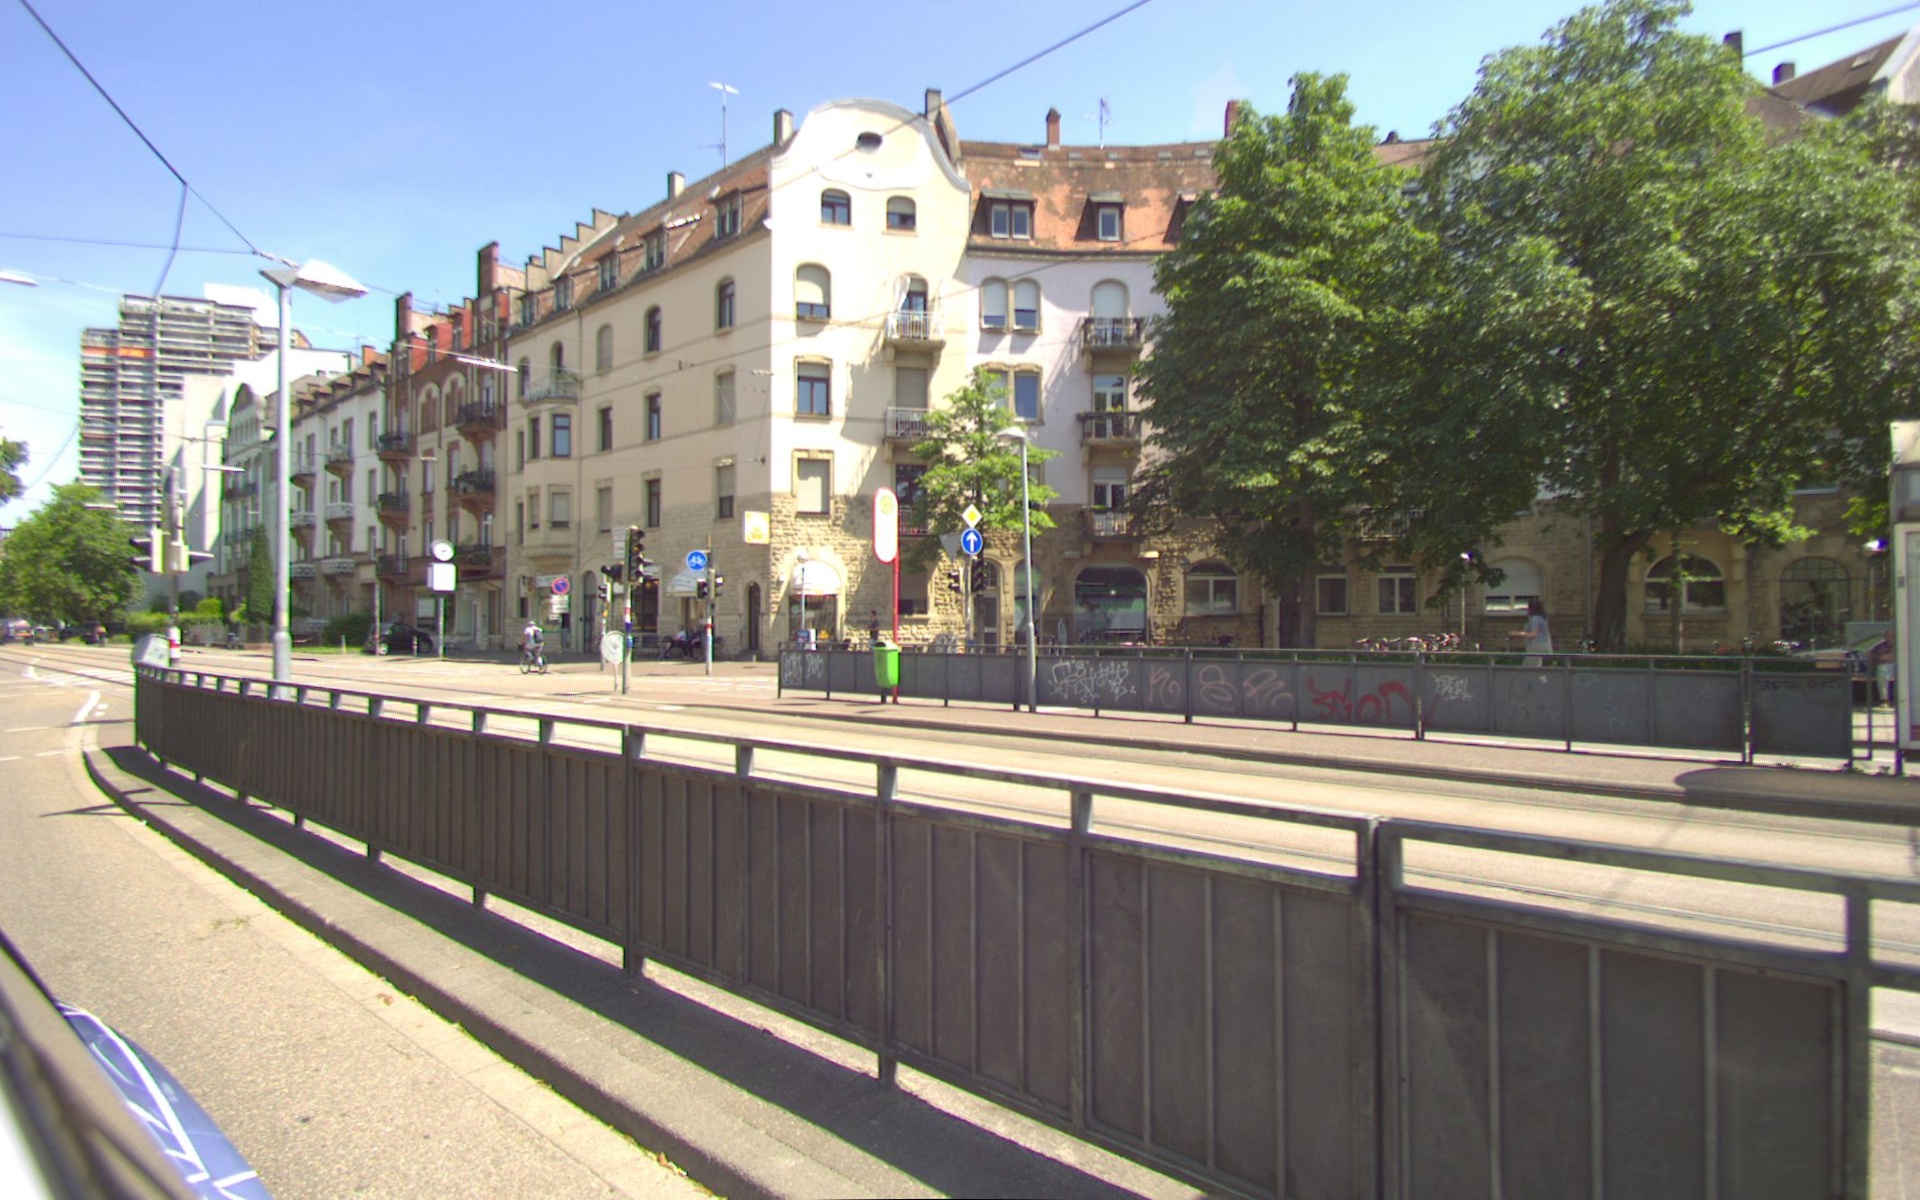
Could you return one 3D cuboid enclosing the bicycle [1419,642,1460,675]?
[{"bbox_3d":[14.917,1.816,31.534,0.403,0.963,1.492,0,-1,-7],"label":"bicycle"}]

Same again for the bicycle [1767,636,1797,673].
[{"bbox_3d":[22.784,1.488,28.051,0.408,0.963,1.475,-1,-1,30],"label":"bicycle"}]

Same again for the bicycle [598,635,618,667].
[{"bbox_3d":[-14.359,2.058,41.255,0.447,1.234,2.086,0,-1,-29],"label":"bicycle"}]

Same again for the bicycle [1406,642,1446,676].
[{"bbox_3d":[14.474,1.815,31.435,0.285,0.981,1.675,0,-1,-7],"label":"bicycle"}]

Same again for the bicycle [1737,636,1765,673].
[{"bbox_3d":[22.117,1.504,28.300,0.408,0.963,1.475,-1,-1,30],"label":"bicycle"}]

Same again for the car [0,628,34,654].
[{"bbox_3d":[-75.731,3.269,80.673,4.814,1.952,1.827,-1,-3,37],"label":"car"}]

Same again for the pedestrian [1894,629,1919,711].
[{"bbox_3d":[15.074,1.079,15.692,0.637,1.265,0.549,0,-1,1],"label":"pedestrian"}]

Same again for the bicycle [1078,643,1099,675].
[{"bbox_3d":[4.192,1.915,33.050,0.285,0.981,1.675,0,-1,-7],"label":"bicycle"}]

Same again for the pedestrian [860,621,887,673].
[{"bbox_3d":[-2.940,1.590,34.372,0.727,1.744,0.538,-1,-1,39],"label":"pedestrian"}]

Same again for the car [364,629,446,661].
[{"bbox_3d":[-27.507,2.201,50.201,3.315,1.483,1.531,0,-1,-45],"label":"car"}]

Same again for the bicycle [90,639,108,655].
[{"bbox_3d":[-60.133,3.259,70.697,2.185,1.082,0.637,-2,-3,41],"label":"bicycle"}]

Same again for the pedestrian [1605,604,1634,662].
[{"bbox_3d":[20.754,1.036,31.856,0.603,1.790,0.625,1,-1,-45],"label":"pedestrian"}]

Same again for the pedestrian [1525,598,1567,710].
[{"bbox_3d":[10.115,0.925,17.479,0.504,1.893,0.494,1,-1,-44],"label":"pedestrian"}]

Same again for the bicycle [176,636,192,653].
[{"bbox_3d":[-52.016,2.998,67.834,2.046,1.105,0.487,-2,-2,41],"label":"bicycle"}]

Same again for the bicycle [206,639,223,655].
[{"bbox_3d":[-46.556,2.944,63.205,1.953,0.955,0.457,-2,-2,41],"label":"bicycle"}]

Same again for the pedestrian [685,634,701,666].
[{"bbox_3d":[-9.824,1.853,37.286,0.405,1.157,0.401,-1,-1,38],"label":"pedestrian"}]

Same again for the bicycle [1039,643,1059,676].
[{"bbox_3d":[2.874,1.906,32.802,0.285,0.981,1.675,0,-1,-7],"label":"bicycle"}]

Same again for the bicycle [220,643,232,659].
[{"bbox_3d":[-43.700,3.054,60.261,1.614,0.924,0.250,-2,-2,41],"label":"bicycle"}]

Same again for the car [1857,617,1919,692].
[{"bbox_3d":[21.971,1.173,21.883,3.573,1.587,1.567,-1,-1,30],"label":"car"}]

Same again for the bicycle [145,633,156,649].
[{"bbox_3d":[-60.215,3.059,75.289,1.932,1.173,0.336,-1,-1,41],"label":"bicycle"}]

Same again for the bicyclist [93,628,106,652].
[{"bbox_3d":[-60.069,2.781,70.660,0.579,1.676,0.603,-2,-3,41],"label":"bicyclist"}]

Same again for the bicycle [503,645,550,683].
[{"bbox_3d":[-14.010,2.042,32.676,1.977,1.166,0.621,-2,-2,41],"label":"bicycle"}]

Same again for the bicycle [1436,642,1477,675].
[{"bbox_3d":[15.479,1.811,31.580,0.403,0.963,1.492,0,-1,-6],"label":"bicycle"}]

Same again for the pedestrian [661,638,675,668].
[{"bbox_3d":[-10.906,1.964,37.776,0.405,1.097,0.351,-1,-1,38],"label":"pedestrian"}]

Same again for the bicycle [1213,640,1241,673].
[{"bbox_3d":[8.666,1.829,32.879,0.285,0.981,1.675,0,-1,-7],"label":"bicycle"}]

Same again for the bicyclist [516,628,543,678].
[{"bbox_3d":[-13.860,1.701,32.560,0.585,1.586,0.602,-1,-1,41],"label":"bicyclist"}]

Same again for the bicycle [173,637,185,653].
[{"bbox_3d":[-53.994,3.102,69.962,1.899,1.054,0.286,-1,-1,41],"label":"bicycle"}]

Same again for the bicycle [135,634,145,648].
[{"bbox_3d":[-63.143,3.155,77.904,1.727,1.076,0.336,-1,-1,41],"label":"bicycle"}]

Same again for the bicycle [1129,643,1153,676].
[{"bbox_3d":[5.815,1.894,32.651,0.285,0.981,1.675,0,-1,-7],"label":"bicycle"}]

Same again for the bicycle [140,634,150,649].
[{"bbox_3d":[-61.730,3.146,76.648,1.727,1.076,0.336,-1,-1,41],"label":"bicycle"}]

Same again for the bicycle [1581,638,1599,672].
[{"bbox_3d":[18.842,1.627,30.294,0.408,0.963,1.475,-1,-1,30],"label":"bicycle"}]
